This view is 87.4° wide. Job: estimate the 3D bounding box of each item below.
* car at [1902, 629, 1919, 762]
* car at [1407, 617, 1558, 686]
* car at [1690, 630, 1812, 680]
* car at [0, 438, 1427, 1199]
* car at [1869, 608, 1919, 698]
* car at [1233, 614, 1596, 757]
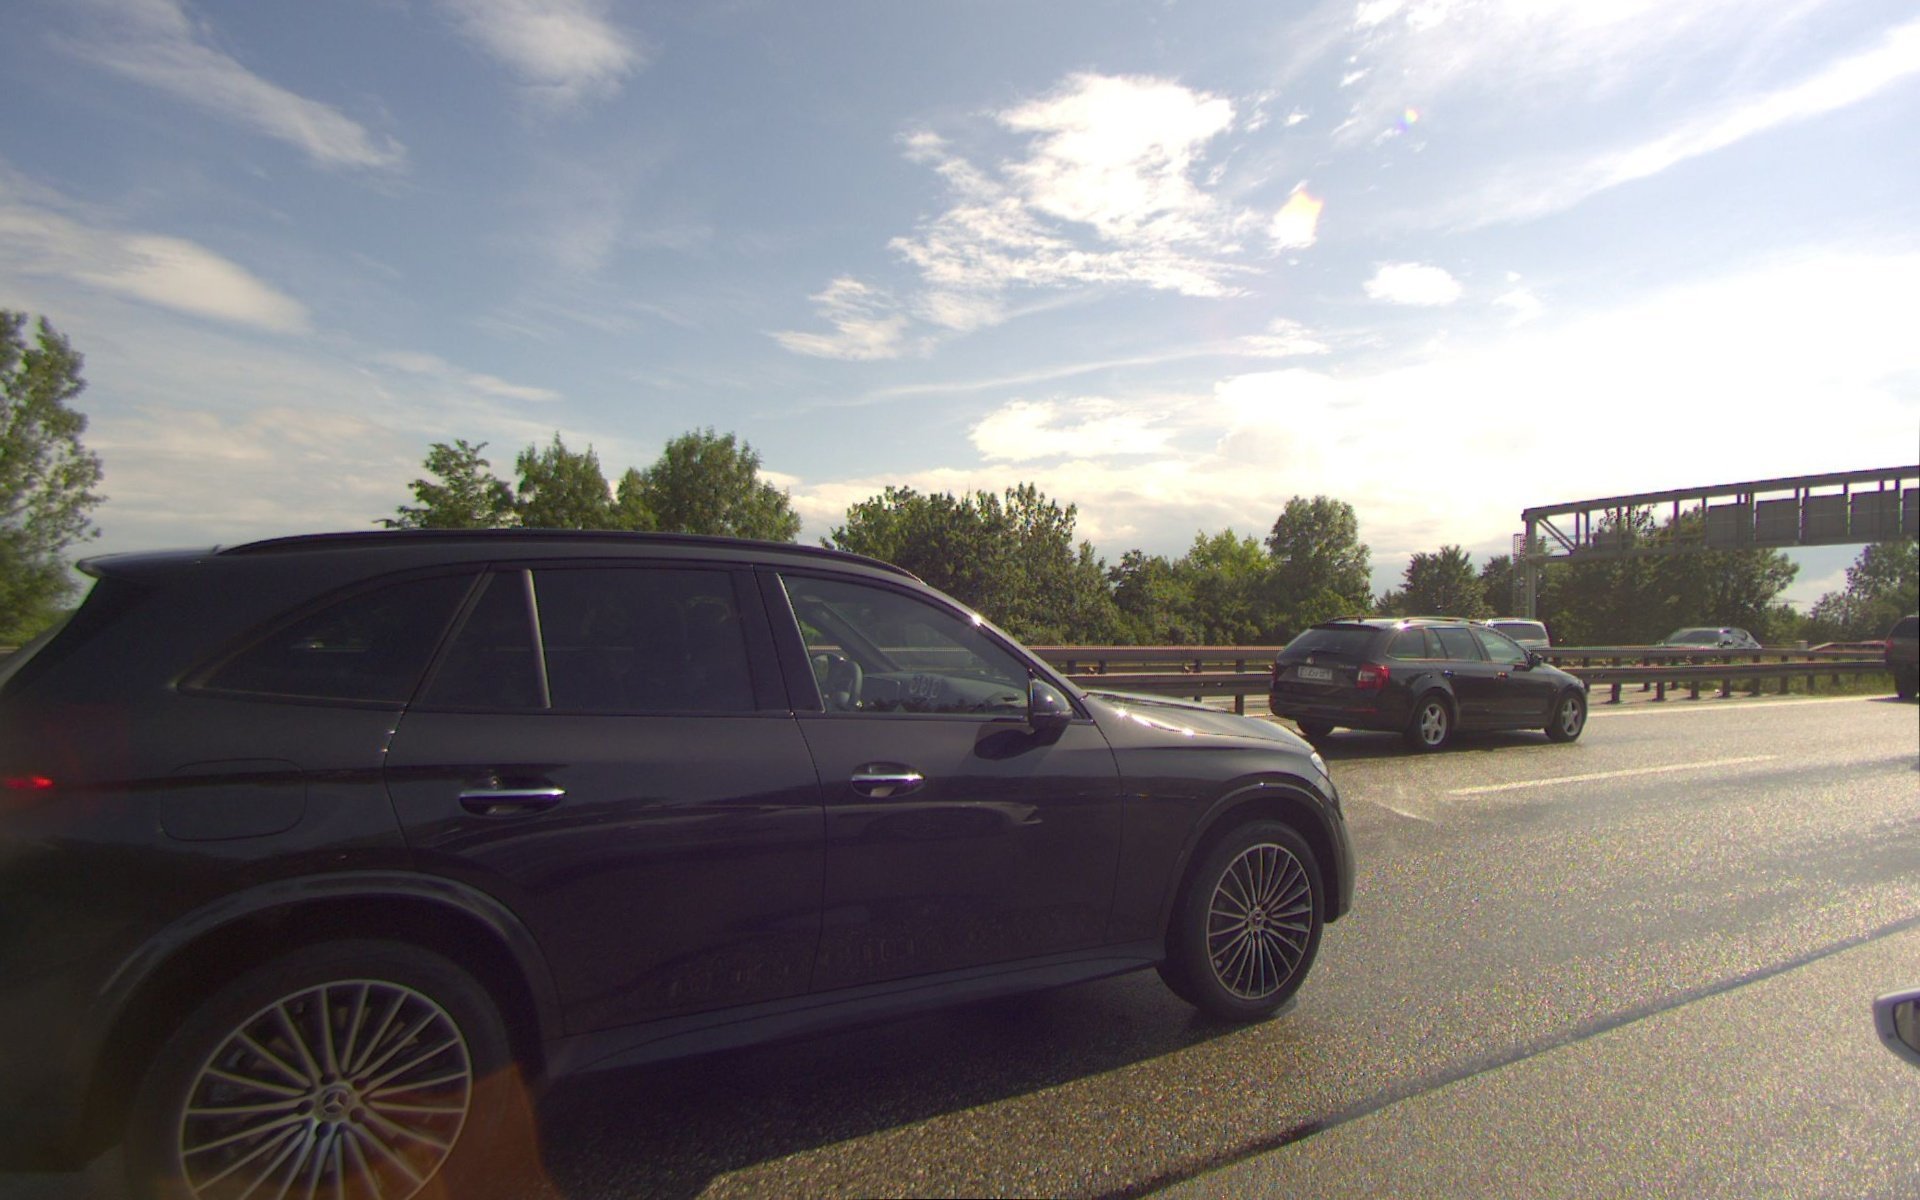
[{"bbox_3d":[12.576,1.086,11.352,4.006,1.452,1.742,1,0,-30],"label":"car"},{"bbox_3d":[16.698,1.609,32.061,4.893,2.040,1.984,1,0,-30],"label":"car"},{"bbox_3d":[25.417,1.743,32.260,3.953,1.461,1.767,2,-1,-30],"label":"car"},{"bbox_3d":[-0.609,0.597,3.590,4.572,1.701,1.867,1,-1,-30],"label":"car"},{"bbox_3d":[22.483,1.166,22.270,5.351,1.868,1.799,1,0,-29],"label":"car"},{"bbox_3d":[5.595,0.942,12.263,4.321,1.444,1.911,2,-1,-30],"label":"car"}]
